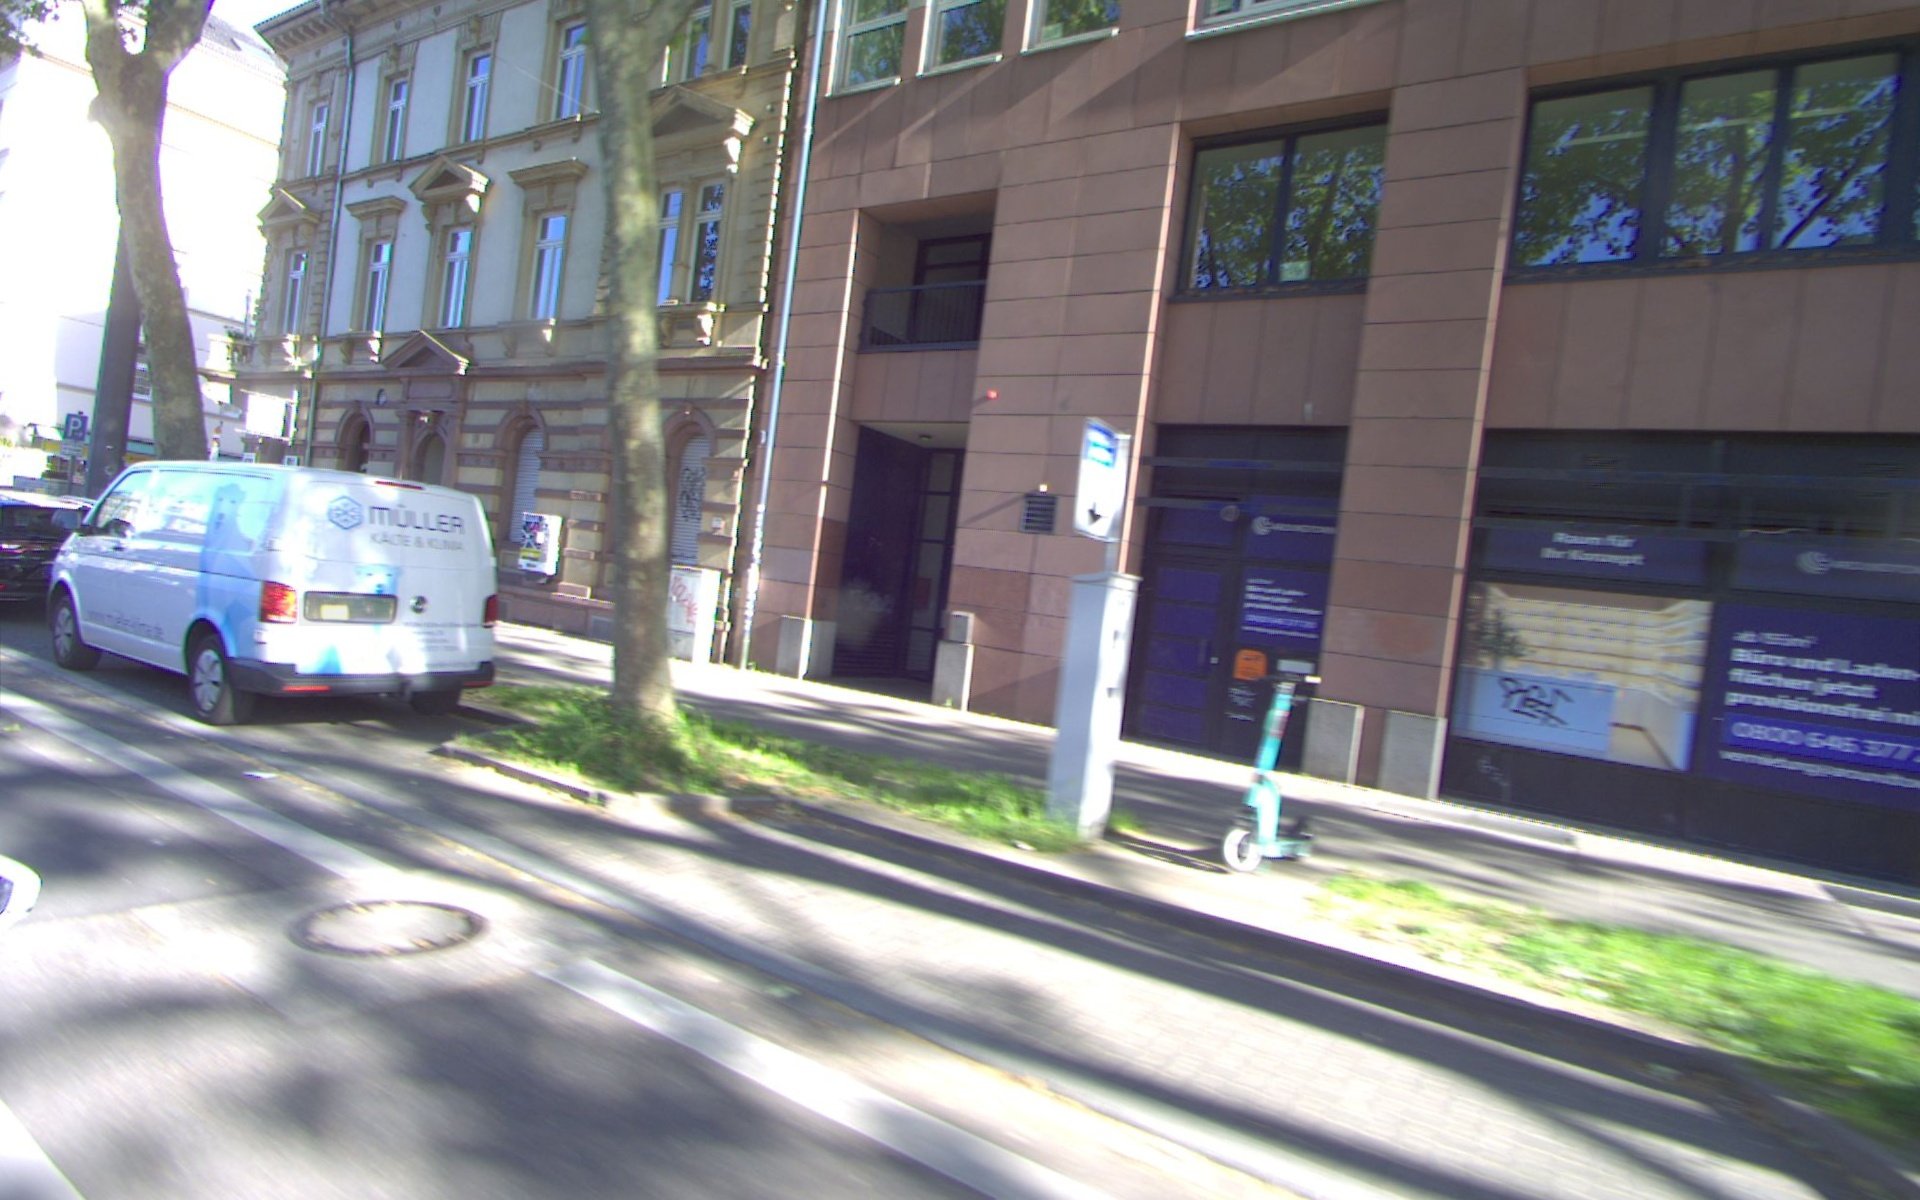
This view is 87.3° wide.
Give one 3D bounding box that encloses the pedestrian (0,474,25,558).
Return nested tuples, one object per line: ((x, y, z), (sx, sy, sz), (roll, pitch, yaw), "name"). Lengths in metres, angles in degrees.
((-24.244, -2.162, 24.976), (1.029, 2.037, 1.090), (7, -1, 33), "pedestrian")

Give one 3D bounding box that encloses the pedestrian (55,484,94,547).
((-28.781, -2.738, 32.692), (0.577, 1.925, 0.553), (7, -1, 21), "pedestrian")

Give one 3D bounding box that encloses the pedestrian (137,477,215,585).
((-14.494, -1.269, 18.604), (0.880, 1.848, 0.645), (7, -1, 28), "pedestrian")

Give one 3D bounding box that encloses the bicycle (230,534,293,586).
((-16.006, -0.920, 23.037), (1.851, 1.009, 0.415), (7, 0, 32), "bicycle")

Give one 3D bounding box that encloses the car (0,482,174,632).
((-11.866, -0.666, 12.523), (4.632, 1.533, 1.820), (7, 0, 33), "car")

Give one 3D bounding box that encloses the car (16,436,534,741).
((-6.120, -0.181, 8.827), (4.646, 2.037, 1.860), (7, -2, 32), "car")

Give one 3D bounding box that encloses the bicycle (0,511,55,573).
((-19.133, -1.233, 19.515), (0.448, 1.105, 2.226), (7, -2, 33), "bicycle")

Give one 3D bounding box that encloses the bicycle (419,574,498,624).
((-9.692, -0.032, 19.439), (1.635, 0.783, 0.549), (7, 2, 32), "bicycle")

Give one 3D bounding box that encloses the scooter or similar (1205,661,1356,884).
((2.153, 1.078, 6.631), (0.441, 1.252, 1.542), (7, -1, 32), "scooter or similar")
